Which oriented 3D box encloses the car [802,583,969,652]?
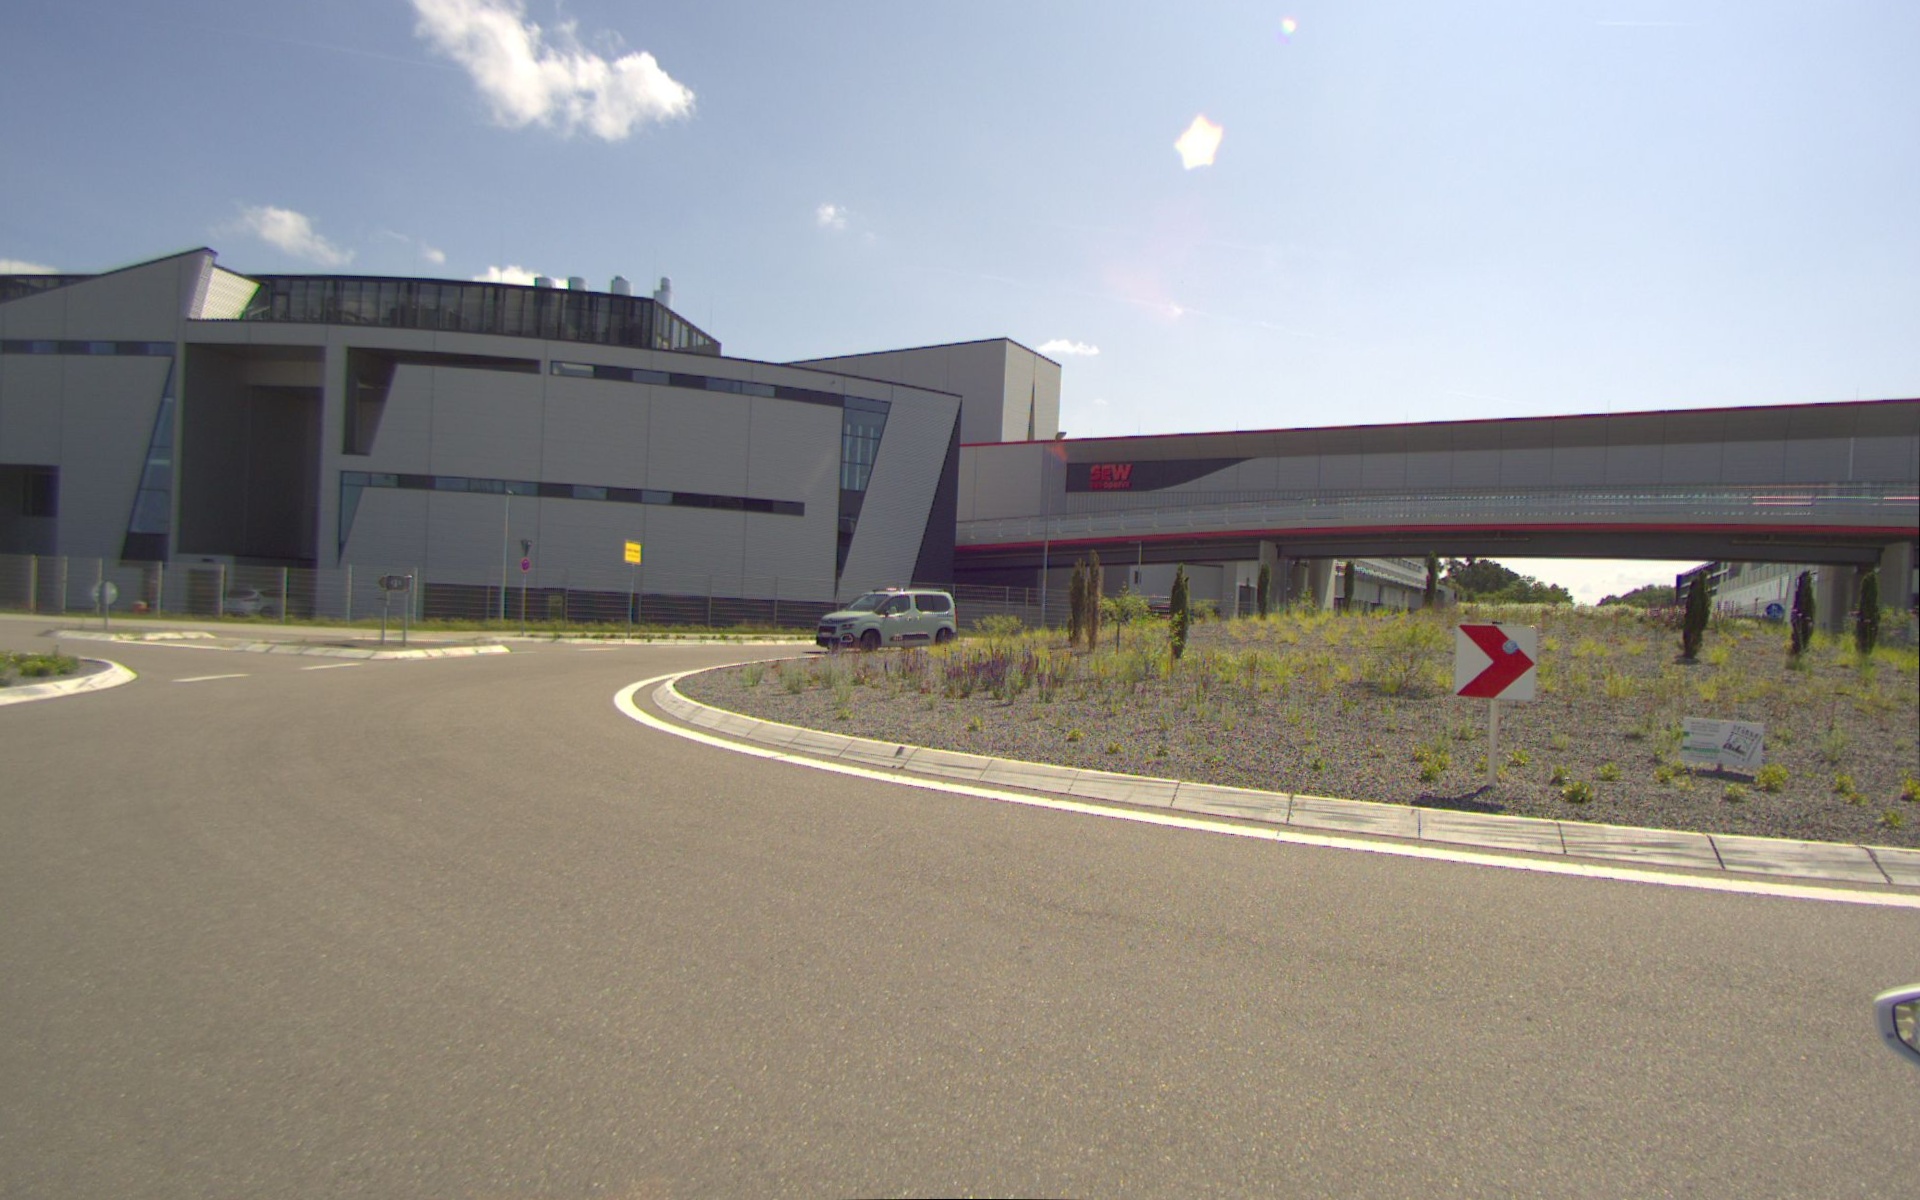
[{"bbox_3d":[-2.080,0.522,28.892,4.527,1.803,1.975,2,0,-42],"label":"car"}]

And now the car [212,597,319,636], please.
[{"bbox_3d":[-34.247,0.795,49.689,1.960,1.713,4.316,3,0,6],"label":"car"}]
